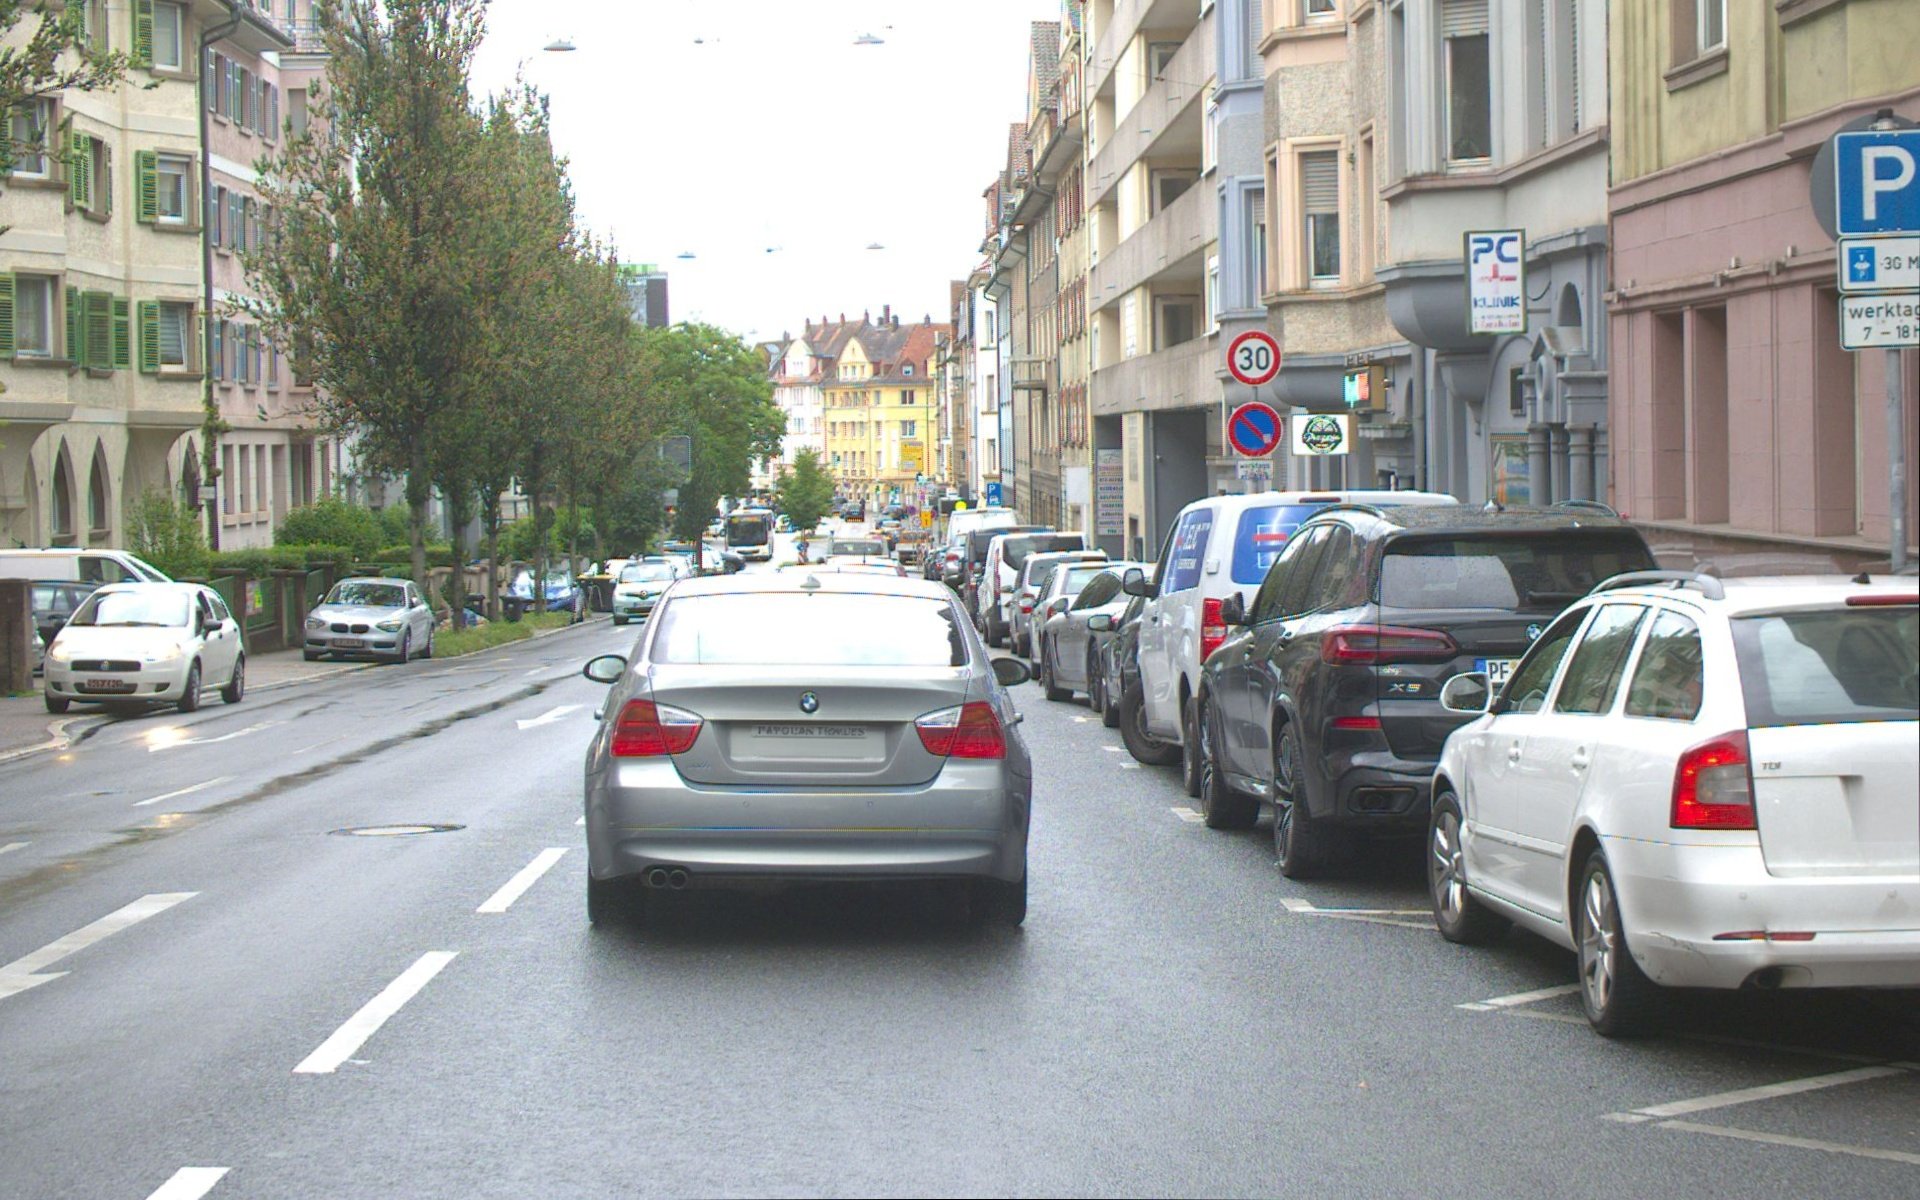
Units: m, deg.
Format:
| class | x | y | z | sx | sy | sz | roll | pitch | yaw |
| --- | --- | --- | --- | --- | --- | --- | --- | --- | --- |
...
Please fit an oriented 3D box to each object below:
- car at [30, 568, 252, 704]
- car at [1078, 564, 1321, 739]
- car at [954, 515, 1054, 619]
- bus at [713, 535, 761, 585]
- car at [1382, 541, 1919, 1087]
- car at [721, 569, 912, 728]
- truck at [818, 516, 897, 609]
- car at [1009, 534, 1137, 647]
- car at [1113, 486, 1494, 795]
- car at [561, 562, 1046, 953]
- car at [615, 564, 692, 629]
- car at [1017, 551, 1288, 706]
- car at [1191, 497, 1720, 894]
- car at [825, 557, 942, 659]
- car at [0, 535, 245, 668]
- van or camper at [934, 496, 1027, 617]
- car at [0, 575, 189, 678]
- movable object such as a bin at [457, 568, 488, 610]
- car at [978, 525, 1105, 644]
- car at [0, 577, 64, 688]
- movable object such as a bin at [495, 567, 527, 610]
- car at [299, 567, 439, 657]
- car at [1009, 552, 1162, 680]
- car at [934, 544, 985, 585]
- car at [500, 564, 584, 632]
| class | x | y | z | sx | sy | sz | roll | pitch | yaw |
| --- | --- | --- | --- | --- | --- | --- | --- | --- | --- |
| car | -9.472 | 0.381 | 40.039 | 1.621 | 1.441 | 4.005 | -1 | 1 | 0 |
| car | 1.978 | 0.384 | 29.464 | 1.677 | 1.370 | 4.276 | 0 | 1 | -1 |
| car | 0.945 | -0.748 | 76.472 | 1.982 | 2.158 | 4.750 | -2 | 1 | -1 |
| bus | -14.080 | -2.521 | 217.382 | 2.668 | 3.014 | 7.671 | -2 | 1 | -1 |
| car | 2.767 | 0.588 | 12.135 | 1.799 | 1.559 | 4.493 | 1 | 1 | -2 |
| car | -1.329 | 0.426 | 33.117 | 1.682 | 1.423 | 3.741 | 1 | 1 | 0 |
| truck | -2.760 | -1.004 | 92.248 | 2.032 | 2.404 | 4.827 | 1 | 0 | -2 |
| car | 1.768 | -0.177 | 55.132 | 1.726 | 1.664 | 4.289 | -3 | 1 | -1 |
| car | 2.205 | 0.208 | 23.443 | 1.919 | 1.821 | 5.009 | -2 | 1 | -1 |
| car | -0.643 | 0.563 | 14.517 | 1.769 | 1.423 | 3.741 | 1 | 1 | -2 |
| car | -7.804 | -0.103 | 87.771 | 1.636 | 1.503 | 3.755 | -4 | 1 | -1 |
| car | 1.863 | 0.244 | 34.865 | 1.875 | 1.462 | 4.776 | 0 | 1 | -8 |
| car | 2.336 | 0.386 | 17.461 | 1.878 | 1.725 | 4.677 | 1 | 1 | -1 |
| car | -1.192 | 0.107 | 52.158 | 1.697 | 1.478 | 3.794 | 1 | 0 | -2 |
| car | -13.966 | 0.030 | 54.434 | 4.828 | 1.967 | 2.048 | -2 | 1 | -1 |
| van or camper | 0.559 | -1.121 | 86.941 | 2.033 | 2.859 | 6.885 | 2 | 1 | 2 |
| car | -14.114 | 0.419 | 52.187 | 4.431 | 1.447 | 1.792 | -2 | 1 | -3 |
| movable object such as a bin | -10.748 | -0.237 | 75.835 | 0.574 | 0.909 | 0.640 | -2 | 1 | -15 |
| car | 1.425 | -0.303 | 61.835 | 1.982 | 2.000 | 4.625 | -2 | 1 | -1 |
| car | -14.158 | 0.483 | 46.190 | 3.880 | 1.452 | 1.792 | -2 | 1 | -8 |
| movable object such as a bin | -9.930 | -0.256 | 76.015 | 0.574 | 0.909 | 0.640 | -2 | 1 | -15 |
| car | -10.204 | 0.192 | 59.596 | 1.726 | 1.478 | 3.989 | 1 | 0 | 0 |
| car | 1.479 | 0.158 | 41.718 | 1.611 | 1.469 | 4.016 | 0 | 1 | -1 |
| car | -0.034 | -1.284 | 125.020 | 1.697 | 1.478 | 3.976 | 1 | 0 | -2 |
| car | -10.691 | -0.079 | 88.219 | 1.766 | 1.588 | 4.001 | -3 | 1 | -2 |
